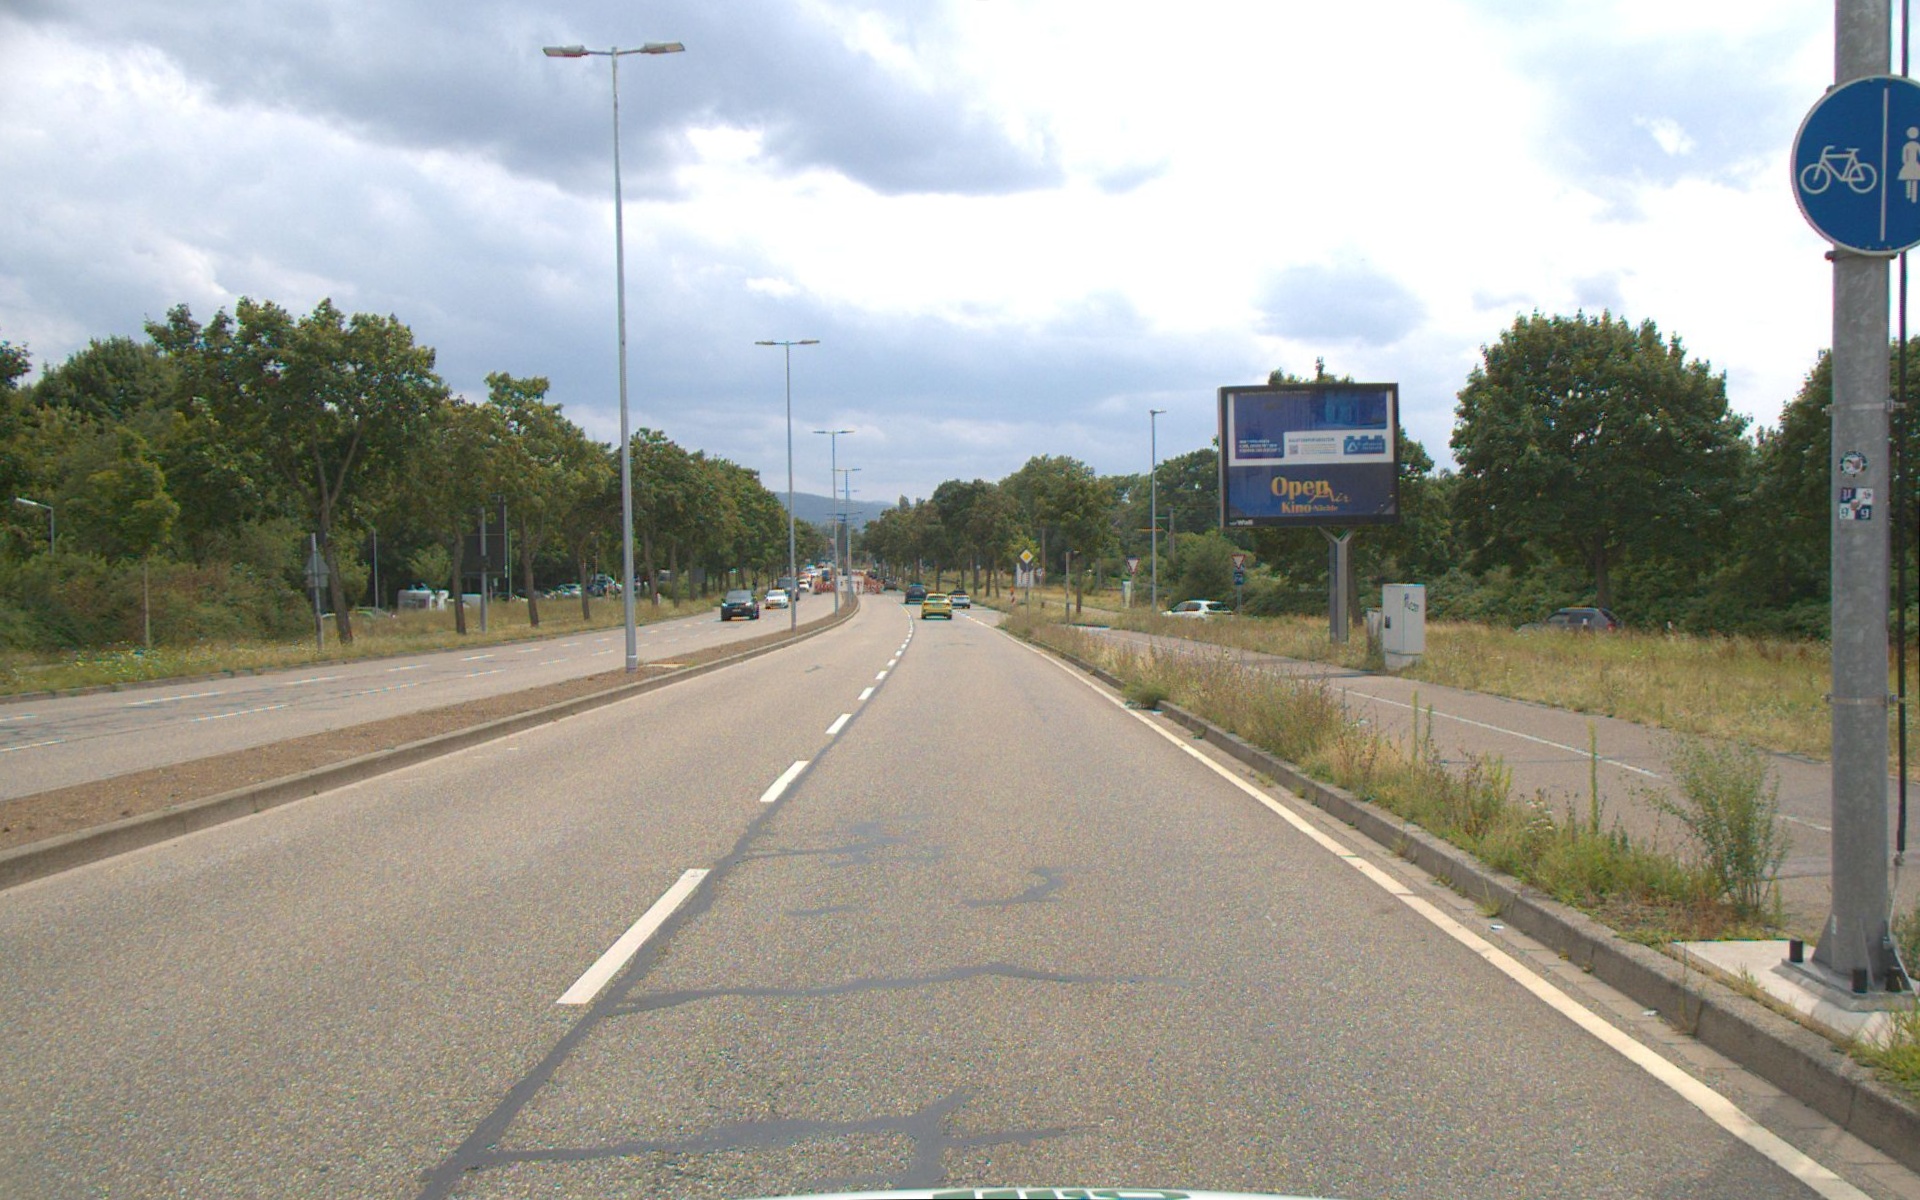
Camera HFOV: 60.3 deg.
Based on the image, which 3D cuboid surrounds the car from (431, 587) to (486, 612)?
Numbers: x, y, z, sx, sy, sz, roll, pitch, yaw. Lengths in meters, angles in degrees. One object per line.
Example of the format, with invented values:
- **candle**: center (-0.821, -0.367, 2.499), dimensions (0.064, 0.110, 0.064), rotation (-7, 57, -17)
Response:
- **car**: center (-40.614, -0.031, 133.992), dimensions (3.908, 1.920, 1.938), rotation (-1, 1, -4)

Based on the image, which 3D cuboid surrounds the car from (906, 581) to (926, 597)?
- **car**: center (-3.862, -0.998, 144.092), dimensions (1.633, 1.292, 3.999), rotation (-1, 1, -2)

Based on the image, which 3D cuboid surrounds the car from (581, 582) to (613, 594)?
- **car**: center (-46.444, -1.547, 211.749), dimensions (3.696, 1.450, 1.966), rotation (-1, 1, -2)

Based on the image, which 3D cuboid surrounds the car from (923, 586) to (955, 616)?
- **car**: center (-1.258, 0.050, 96.206), dimensions (1.757, 1.589, 3.999), rotation (-1, 1, -2)

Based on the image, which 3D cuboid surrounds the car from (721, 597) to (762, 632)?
- **car**: center (-13.007, 0.836, 98.679), dimensions (1.953, 1.843, 4.796), rotation (-2, 1, -2)

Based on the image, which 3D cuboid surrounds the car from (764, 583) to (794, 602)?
- **car**: center (-14.631, -0.621, 133.793), dimensions (1.953, 1.455, 4.688), rotation (-2, 1, -1)

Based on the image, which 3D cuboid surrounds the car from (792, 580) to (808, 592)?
- **car**: center (-20.621, -1.794, 213.383), dimensions (1.682, 1.444, 4.158), rotation (-2, 1, -2)

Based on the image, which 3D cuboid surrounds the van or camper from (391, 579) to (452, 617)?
- **van or camper**: center (-38.979, -0.190, 119.958), dimensions (2.422, 2.585, 6.718), rotation (-1, 1, -3)

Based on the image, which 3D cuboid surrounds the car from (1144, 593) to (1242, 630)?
- **car**: center (10.201, 0.481, 72.564), dimensions (3.927, 1.489, 1.763), rotation (1, 2, 41)

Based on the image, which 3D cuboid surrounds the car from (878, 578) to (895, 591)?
- **car**: center (-9.659, -2.080, 218.449), dimensions (2.161, 1.713, 4.000), rotation (-1, 1, -1)

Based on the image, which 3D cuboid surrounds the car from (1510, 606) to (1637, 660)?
- **car**: center (21.089, 1.102, 56.836), dimensions (3.910, 1.697, 1.707), rotation (1, 1, 28)

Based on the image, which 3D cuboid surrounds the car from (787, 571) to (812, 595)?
- **car**: center (-15.682, -1.670, 161.752), dimensions (2.053, 2.239, 6.001), rotation (-2, 1, -3)

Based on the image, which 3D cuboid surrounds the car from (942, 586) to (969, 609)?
- **car**: center (-0.348, -0.184, 129.434), dimensions (1.973, 1.699, 3.999), rotation (-1, 1, -2)
